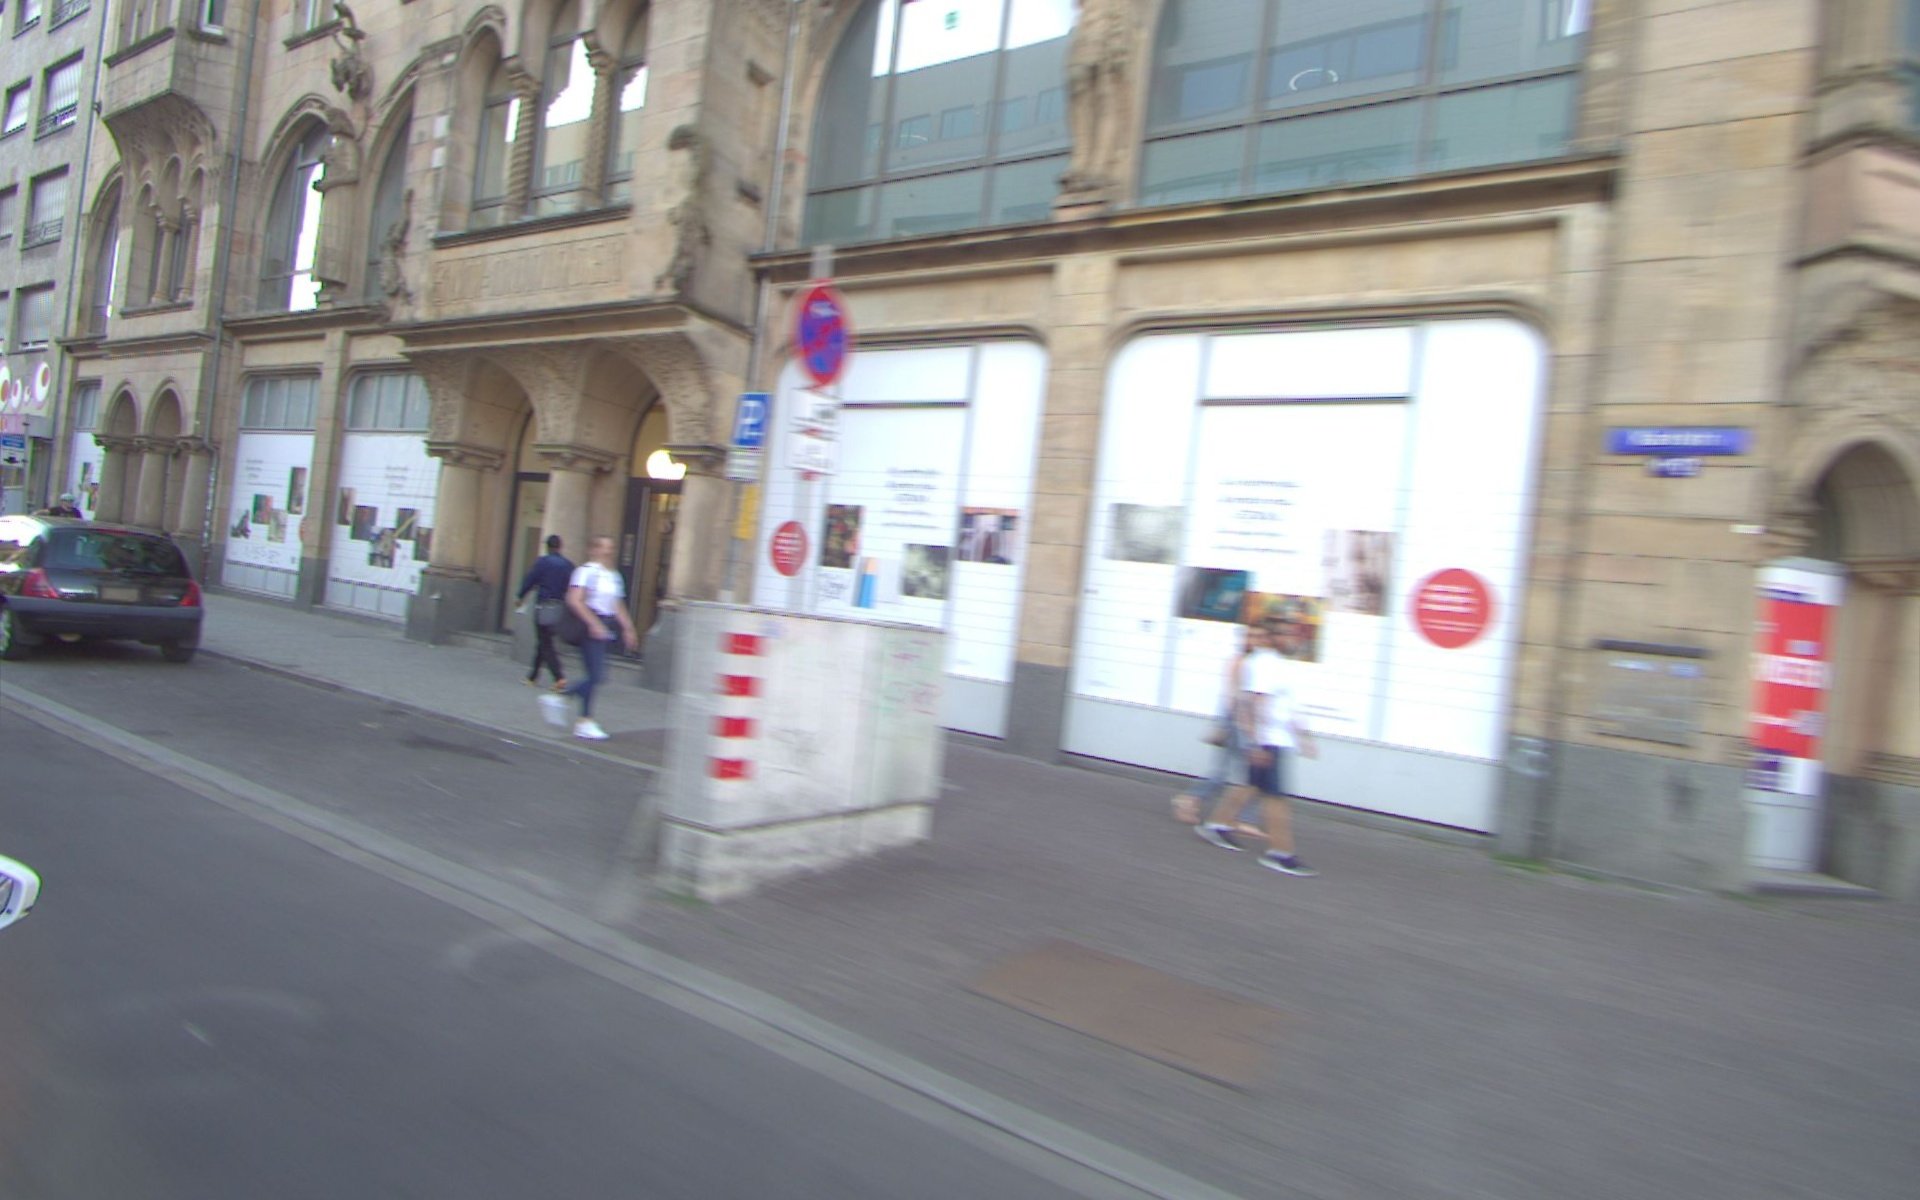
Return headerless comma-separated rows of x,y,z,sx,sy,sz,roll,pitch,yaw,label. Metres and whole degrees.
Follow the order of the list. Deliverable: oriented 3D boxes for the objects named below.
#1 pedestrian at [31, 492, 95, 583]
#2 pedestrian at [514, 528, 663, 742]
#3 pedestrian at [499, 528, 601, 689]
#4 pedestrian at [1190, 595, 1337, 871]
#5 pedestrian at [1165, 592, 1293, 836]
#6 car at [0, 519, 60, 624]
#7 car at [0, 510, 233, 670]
-18.033,-1.254,20.228,0.660,1.710,0.645,7,0,30,pedestrian
-3.256,0.308,8.870,0.669,1.741,0.836,7,0,24,pedestrian
-4.609,0.108,11.324,0.660,1.710,0.626,7,0,30,pedestrian
2.072,0.872,6.847,0.660,1.710,0.626,7,0,30,pedestrian
2.054,0.845,7.658,0.615,1.710,0.626,7,0,30,pedestrian
-14.311,-0.556,13.903,3.980,1.307,1.680,6,0,32,car
-9.850,-0.179,11.071,3.612,1.442,1.680,6,0,32,car
